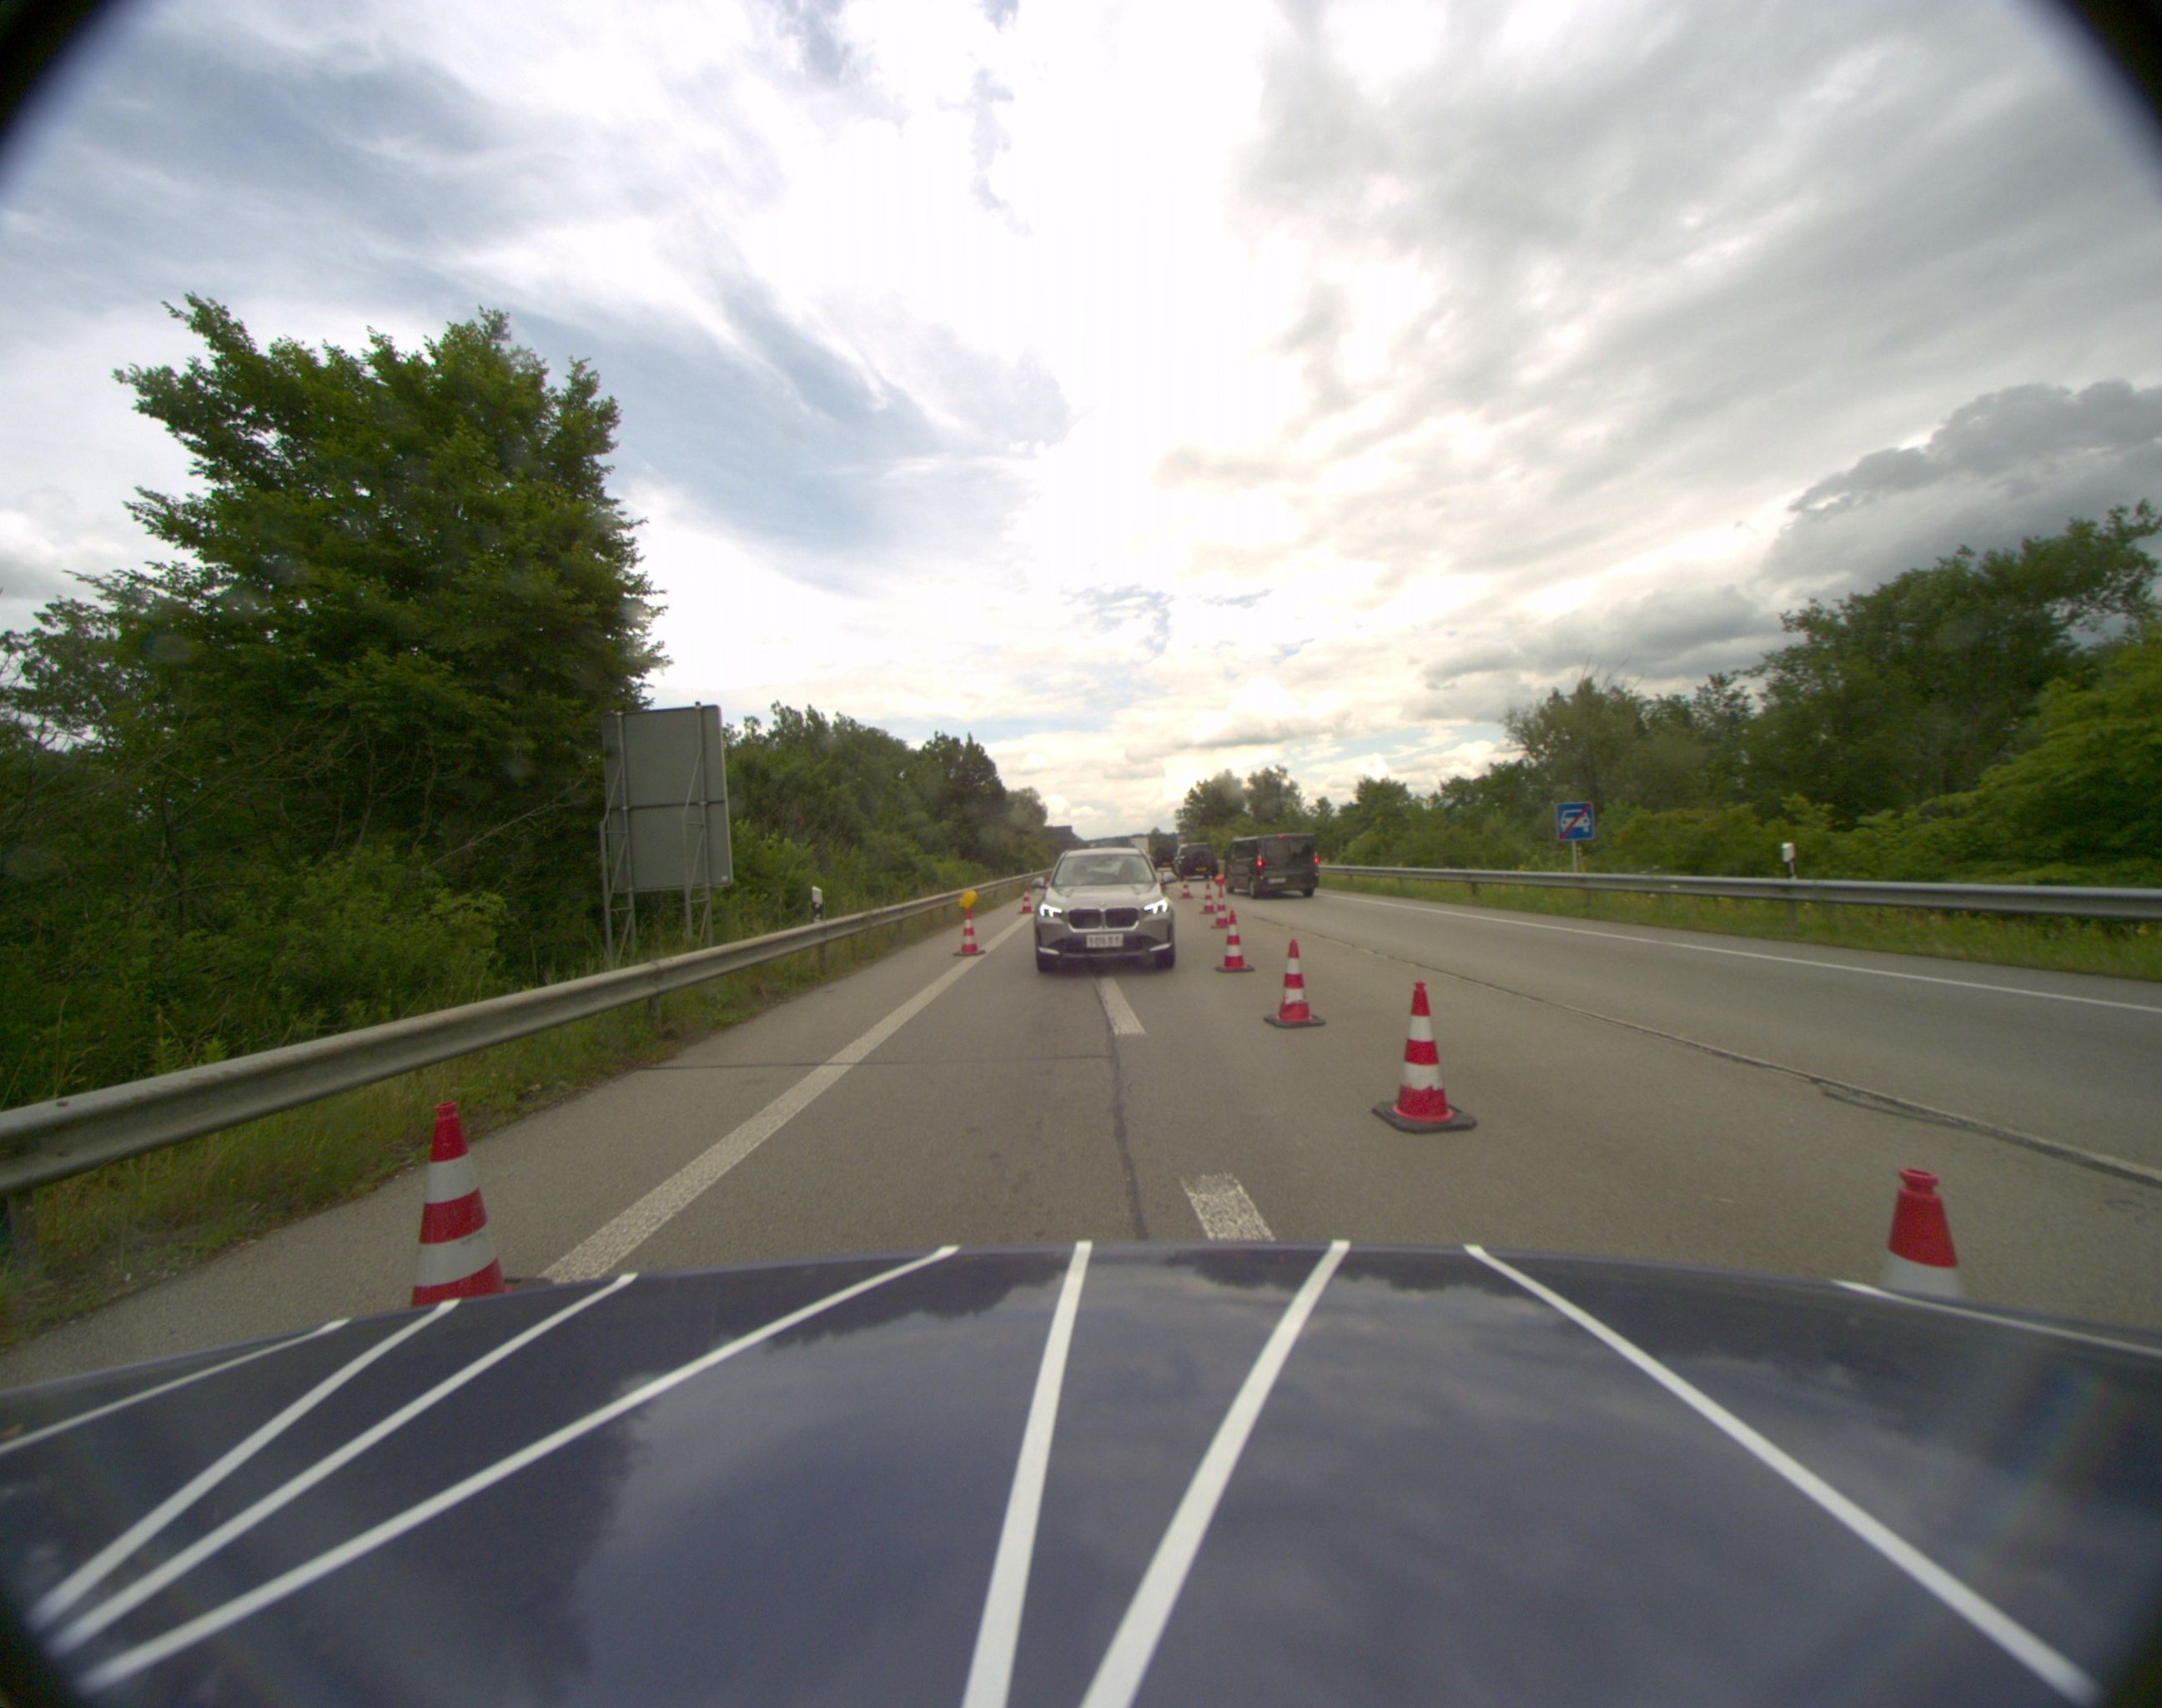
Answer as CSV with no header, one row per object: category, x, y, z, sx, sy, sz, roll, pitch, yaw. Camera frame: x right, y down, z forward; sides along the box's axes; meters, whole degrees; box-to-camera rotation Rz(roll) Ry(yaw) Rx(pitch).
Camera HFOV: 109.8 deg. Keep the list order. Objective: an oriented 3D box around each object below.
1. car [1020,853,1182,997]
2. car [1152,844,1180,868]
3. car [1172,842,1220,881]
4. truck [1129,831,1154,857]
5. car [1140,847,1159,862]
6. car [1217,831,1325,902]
car,0.308,0.826,11.032,1.817,1.598,4.433,-2,0,2
car,7.087,0.164,63.457,1.929,1.820,4.533,-2,0,2
car,6.008,0.378,40.130,1.971,1.873,4.533,-2,0,2
truck,9.075,-1.428,114.458,3.113,3.682,9.544,-2,0,2
car,8.139,0.050,90.262,1.929,1.597,4.533,-2,0,2
car,5.973,0.351,24.621,2.034,1.976,5.315,-2,0,-1
